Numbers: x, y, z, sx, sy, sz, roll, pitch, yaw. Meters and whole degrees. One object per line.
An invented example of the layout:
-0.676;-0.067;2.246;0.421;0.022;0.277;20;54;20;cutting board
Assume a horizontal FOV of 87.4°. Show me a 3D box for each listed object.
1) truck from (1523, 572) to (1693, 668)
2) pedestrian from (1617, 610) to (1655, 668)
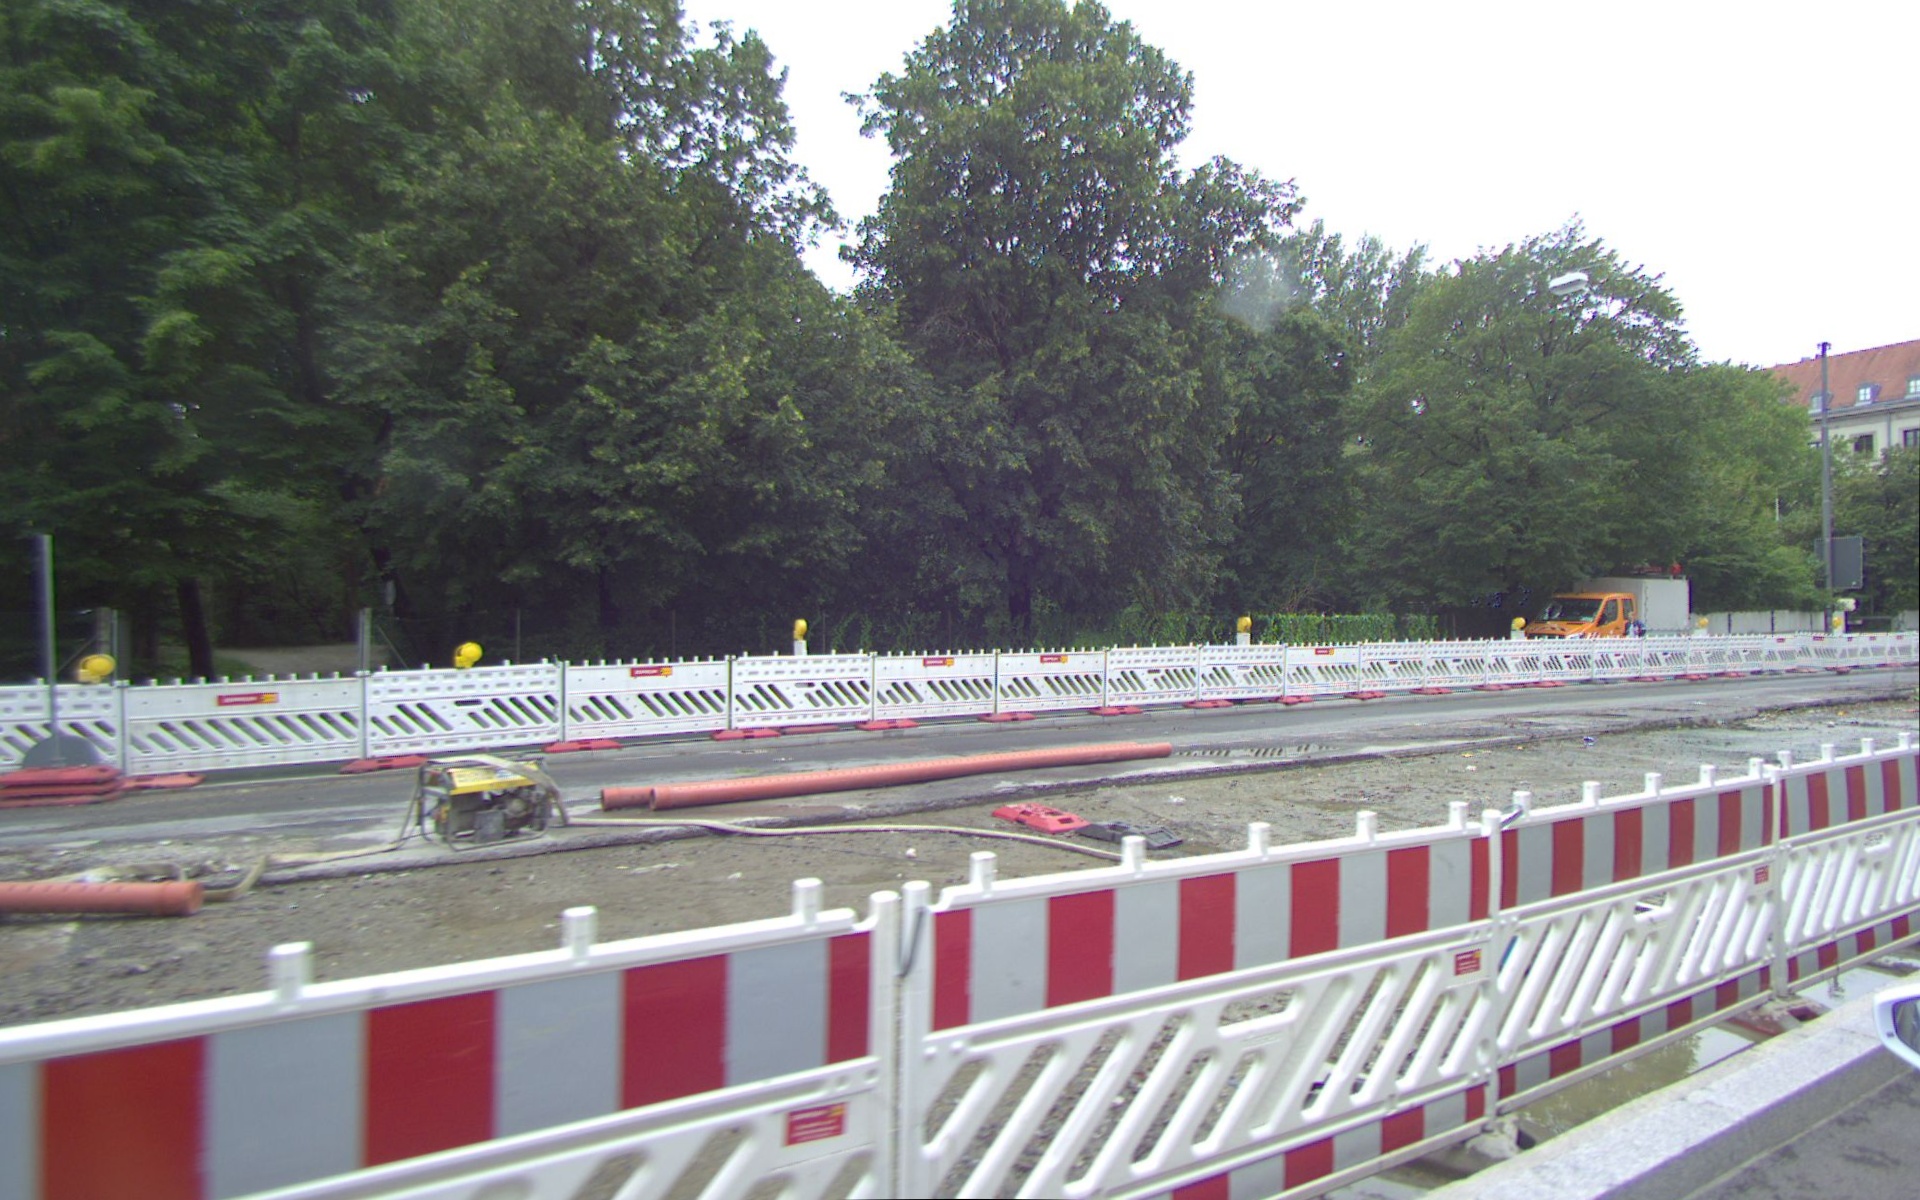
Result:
20.235;0.594;31.286;5.799;2.765;1.985;0;-1;-30;truck
19.517;1.109;28.996;0.689;1.624;0.660;0;0;-29;pedestrian
